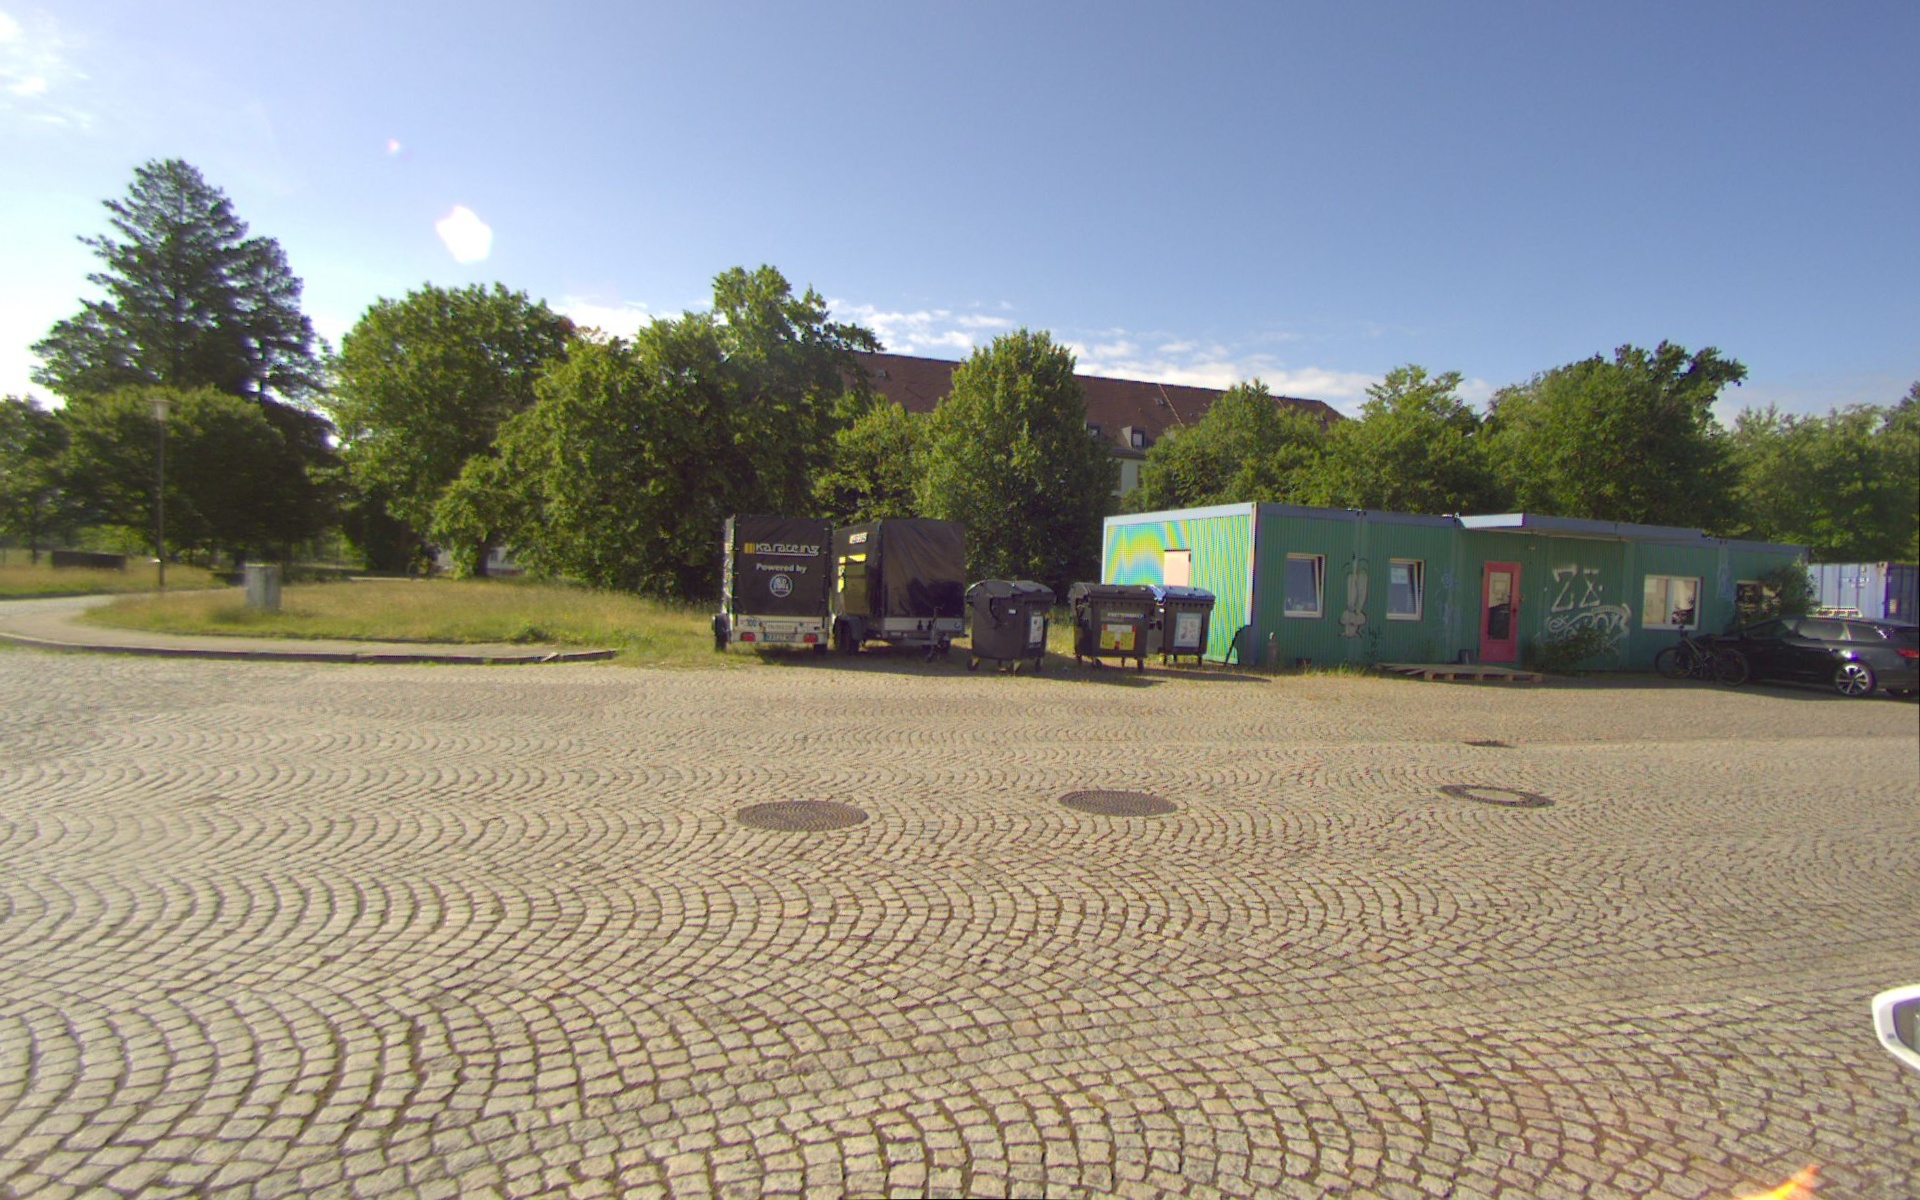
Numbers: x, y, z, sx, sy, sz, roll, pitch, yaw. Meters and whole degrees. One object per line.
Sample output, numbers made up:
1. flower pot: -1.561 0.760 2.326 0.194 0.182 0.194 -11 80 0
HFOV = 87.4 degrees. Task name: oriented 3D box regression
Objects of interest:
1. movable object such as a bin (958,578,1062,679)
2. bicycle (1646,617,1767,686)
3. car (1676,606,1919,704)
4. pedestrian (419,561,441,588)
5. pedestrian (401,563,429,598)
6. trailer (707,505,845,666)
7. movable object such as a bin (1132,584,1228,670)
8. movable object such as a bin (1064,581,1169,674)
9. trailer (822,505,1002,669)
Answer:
1. movable object such as a bin: 0.827 0.426 16.101 1.134 1.477 1.437 4 2 26
2. bicycle: 14.668 0.998 19.791 0.658 1.186 1.801 2 2 -19
3. car: 16.652 0.982 19.403 1.901 1.469 4.247 2 2 -18
4. pedestrian: -39.628 -1.887 75.176 1.141 1.954 1.319 2 2 -15
5. pedestrian: -31.400 -1.113 57.913 1.141 1.954 1.123 2 2 -16
6. trailer: -3.358 -0.280 17.826 2.011 2.503 3.384 2 2 -16
7. movable object such as a bin: 4.029 0.492 18.424 1.422 1.477 0.878 2 2 -28
8. movable object such as a bin: 2.668 0.459 17.204 1.418 1.477 1.017 2 2 -18
9. trailer: -1.050 -0.281 18.528 1.922 2.602 4.628 2 2 -20
